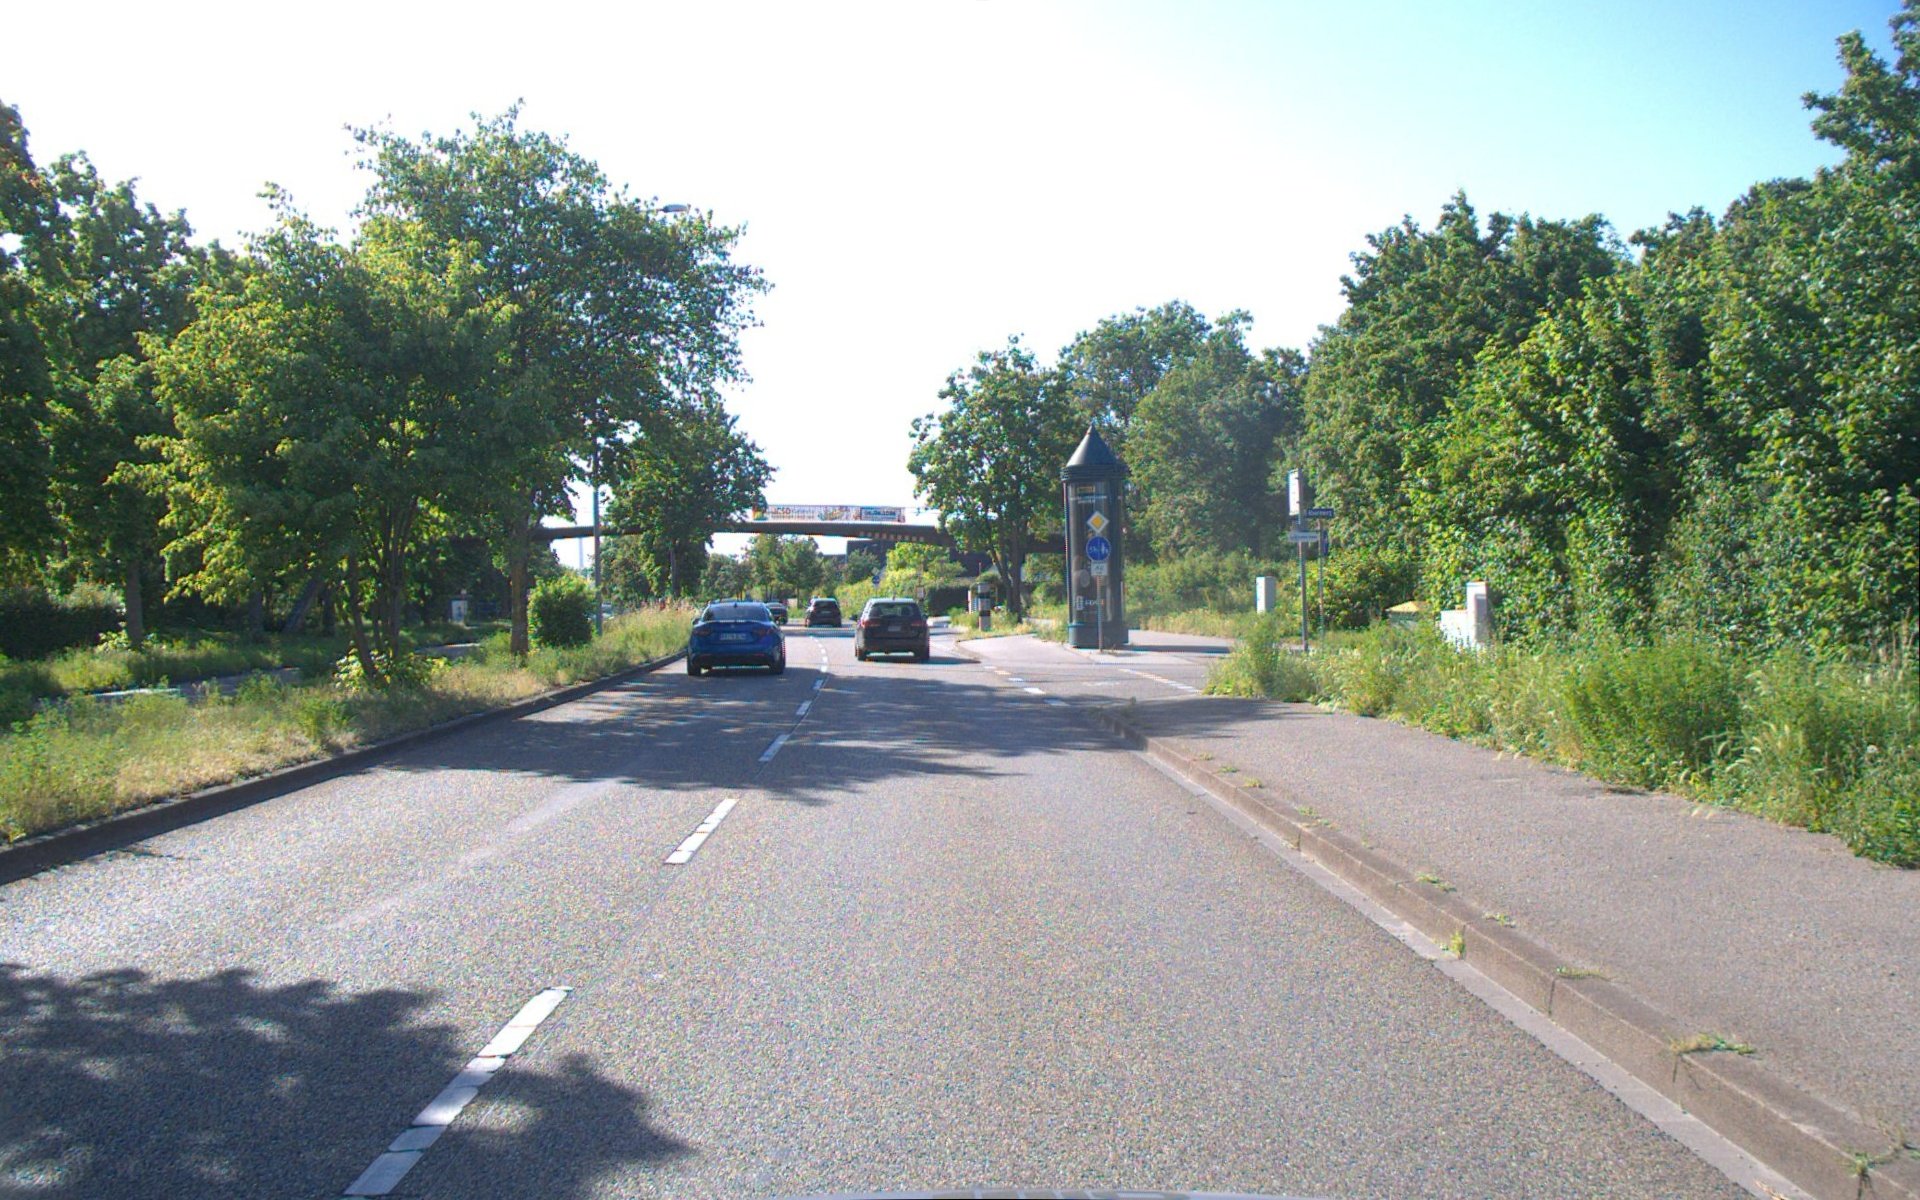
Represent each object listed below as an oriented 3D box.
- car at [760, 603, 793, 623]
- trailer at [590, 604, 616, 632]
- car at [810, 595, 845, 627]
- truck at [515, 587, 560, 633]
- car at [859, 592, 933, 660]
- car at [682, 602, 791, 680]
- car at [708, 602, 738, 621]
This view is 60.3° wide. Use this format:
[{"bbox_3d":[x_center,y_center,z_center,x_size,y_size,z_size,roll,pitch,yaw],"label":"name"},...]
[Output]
[{"bbox_3d":[-13.645,0.946,122.702,1.867,1.379,3.984,-2,0,-15],"label":"car"},{"bbox_3d":[-26.287,1.324,121.967,1.533,1.943,4.275,-1,0,-8],"label":"trailer"},{"bbox_3d":[-7.063,0.574,87.616,1.710,1.625,4.169,-1,0,-6],"label":"car"},{"bbox_3d":[-25.365,0.583,99.418,2.134,2.556,5.726,-4,0,-11],"label":"truck"},{"bbox_3d":[-1.581,0.651,40.657,1.725,1.587,3.997,0,-1,-3],"label":"car"},{"bbox_3d":[-4.486,0.785,33.702,1.956,1.429,3.996,-2,0,-5],"label":"car"},{"bbox_3d":[-18.653,0.878,130.134,1.867,1.379,3.984,-2,0,-15],"label":"car"}]
